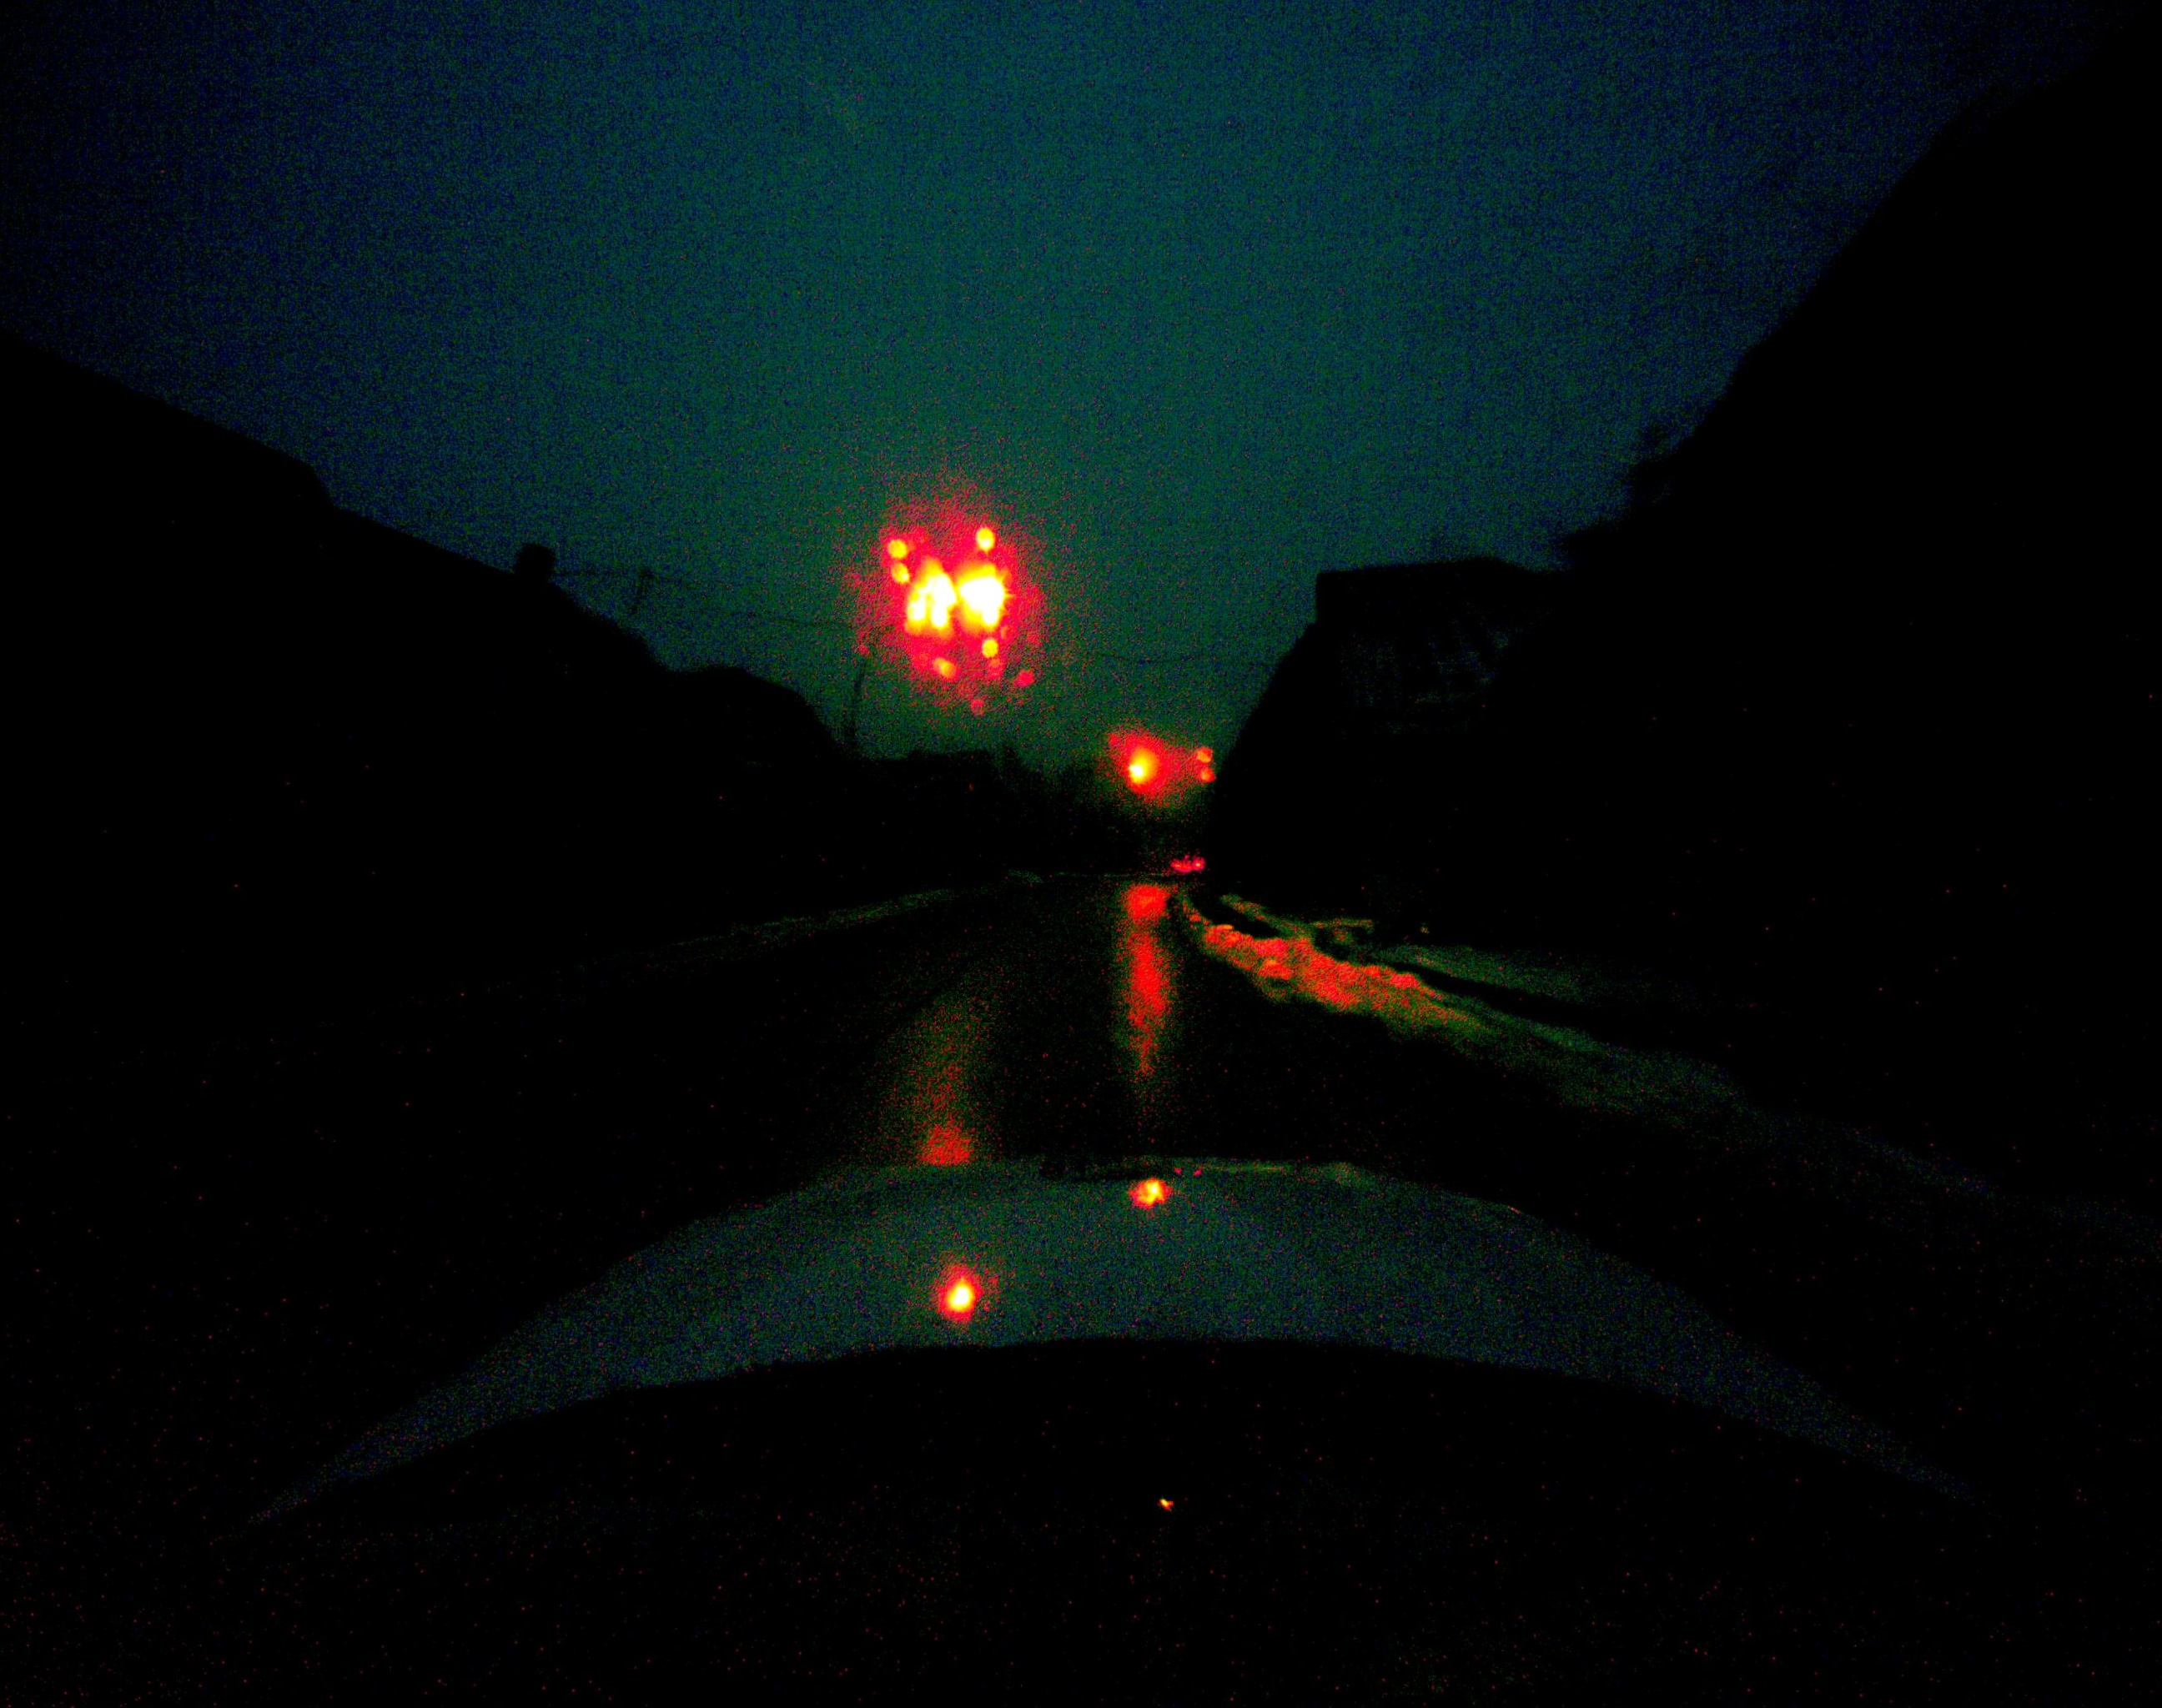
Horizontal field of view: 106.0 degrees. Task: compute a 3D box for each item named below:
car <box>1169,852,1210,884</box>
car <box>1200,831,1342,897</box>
[{"bbox_3d":[6.678,0.909,49.880,1.979,1.737,3.892,-3,-3,13],"label":"car"},{"bbox_3d":[5.739,0.328,24.994,3.966,1.690,1.847,-4,-3,6],"label":"car"}]
